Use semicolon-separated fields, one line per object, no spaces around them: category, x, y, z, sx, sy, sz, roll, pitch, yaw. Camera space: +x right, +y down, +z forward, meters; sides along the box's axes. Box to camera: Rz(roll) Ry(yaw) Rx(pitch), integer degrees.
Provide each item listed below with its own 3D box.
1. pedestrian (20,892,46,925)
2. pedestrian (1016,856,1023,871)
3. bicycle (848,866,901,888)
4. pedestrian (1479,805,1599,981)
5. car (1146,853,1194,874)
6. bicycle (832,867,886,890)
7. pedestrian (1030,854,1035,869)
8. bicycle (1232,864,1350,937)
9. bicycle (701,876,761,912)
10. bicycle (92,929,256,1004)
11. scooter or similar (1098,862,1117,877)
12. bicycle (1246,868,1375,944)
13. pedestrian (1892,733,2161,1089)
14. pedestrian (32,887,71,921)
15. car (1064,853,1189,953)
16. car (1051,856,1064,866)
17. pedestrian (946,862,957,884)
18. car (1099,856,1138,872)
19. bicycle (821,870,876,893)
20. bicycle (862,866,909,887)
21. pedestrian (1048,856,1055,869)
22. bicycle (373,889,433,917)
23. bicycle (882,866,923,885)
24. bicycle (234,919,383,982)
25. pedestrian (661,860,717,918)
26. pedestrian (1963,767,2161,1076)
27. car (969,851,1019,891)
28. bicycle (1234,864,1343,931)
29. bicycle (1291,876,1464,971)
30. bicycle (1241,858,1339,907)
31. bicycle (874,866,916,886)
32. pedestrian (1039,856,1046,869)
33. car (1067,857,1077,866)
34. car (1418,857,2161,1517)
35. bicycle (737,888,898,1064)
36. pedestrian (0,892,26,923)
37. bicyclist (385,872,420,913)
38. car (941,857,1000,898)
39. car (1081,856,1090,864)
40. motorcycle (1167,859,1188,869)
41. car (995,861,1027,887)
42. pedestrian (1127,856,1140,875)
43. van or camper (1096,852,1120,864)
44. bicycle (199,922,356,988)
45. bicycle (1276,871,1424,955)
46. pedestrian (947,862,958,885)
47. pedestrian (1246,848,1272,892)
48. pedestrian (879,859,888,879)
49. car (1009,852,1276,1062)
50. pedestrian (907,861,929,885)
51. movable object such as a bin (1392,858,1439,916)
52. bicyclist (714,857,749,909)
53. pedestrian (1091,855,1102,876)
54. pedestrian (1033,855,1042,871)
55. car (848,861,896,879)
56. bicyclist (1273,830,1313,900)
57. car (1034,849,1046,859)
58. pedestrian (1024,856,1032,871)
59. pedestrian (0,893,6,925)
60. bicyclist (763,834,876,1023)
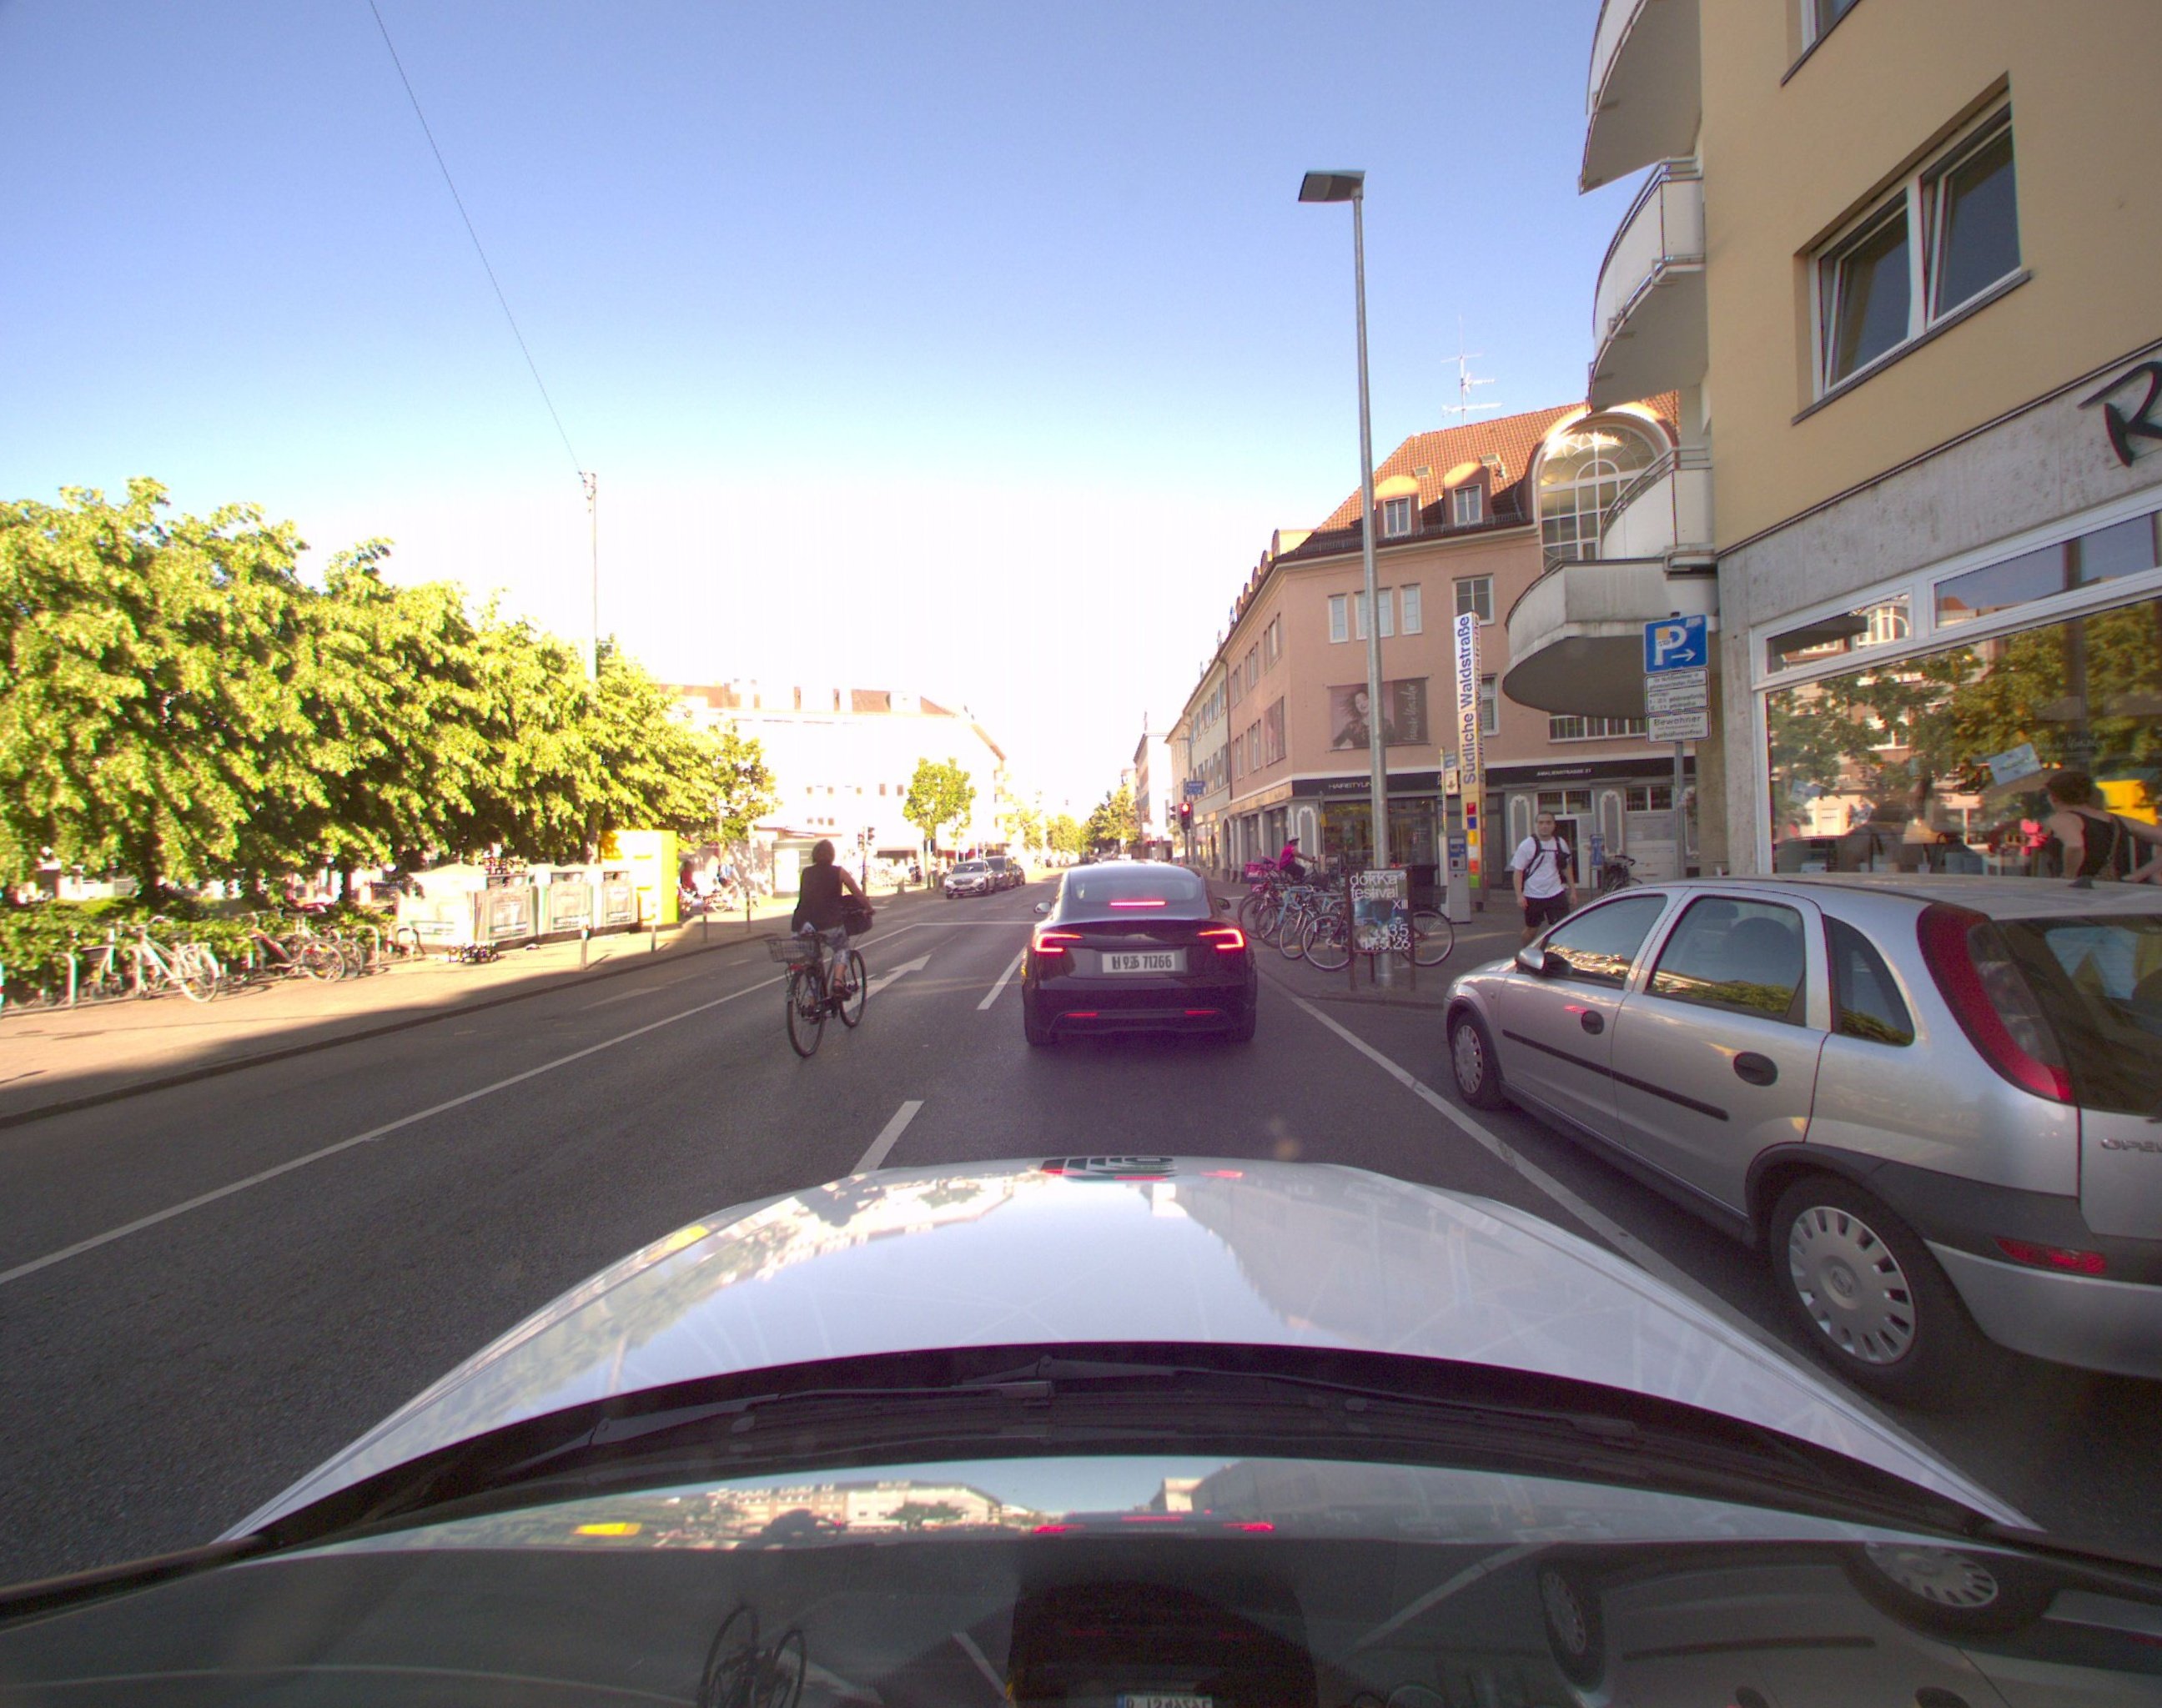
pedestrian;-51.032;2.644;39.661;0.827;1.520;0.782;-1;-1;38
pedestrian;-7.392;1.135;97.312;0.734;1.868;0.787;0;-1;-15
bicycle;-12.157;1.362;47.995;2.867;1.270;0.942;0;-1;-1
pedestrian;4.996;0.407;8.952;0.805;1.823;0.984;0;-1;5
car;8.143;0.870;74.661;4.006;1.867;1.686;-1;0;-20
bicycle;-12.396;1.369;45.599;2.772;1.274;0.933;0;-1;-2
pedestrian;-6.219;0.976;104.236;0.693;1.868;0.658;0;-1;-3
bicycle;3.495;0.772;13.653;1.806;1.152;0.653;-1;0;3
bicycle;-11.708;1.337;27.231;1.934;1.162;0.621;-1;-1;21
bicycle;-11.463;1.415;10.317;1.560;0.886;0.470;0;-1;1
scooter or similar;2.179;1.257;66.545;1.339;1.134;0.804;0;-1;-23
bicycle;3.517;0.788;12.578;1.806;1.102;0.653;-1;0;3
pedestrian;5.632;0.295;4.781;0.681;1.849;0.889;-4;-1;-13
pedestrian;-57.671;2.782;45.625;1.088;1.842;1.309;0;0;37
car;0.740;0.746;14.318;1.843;1.482;4.453;0;0;2
car;-4.862;1.322;166.819;2.405;1.970;4.679;-1;0;2
pedestrian;-10.135;1.489;63.699;0.661;1.760;0.648;0;-1;-24
car;4.304;1.176;93.291;3.954;1.788;2.055;-1;0;38
bicycle;-12.328;1.437;43.255;2.652;1.195;0.942;0;-1;-1
bicycle;-12.057;1.385;50.312;2.655;1.259;0.942;0;-1;-1
pedestrian;-4.226;1.272;117.246;0.777;1.868;1.002;0;-1;-20
bicycle;-23.162;1.664;27.820;1.840;0.823;0.583;-4;-1;14
bicycle;-12.056;1.419;55.015;2.535;1.251;0.942;0;-1;-1
bicycle;-11.463;1.423;12.113;1.663;0.859;0.469;0;-1;-5
pedestrian;-11.984;1.046;24.931;1.102;1.719;1.065;-1;-1;12
pedestrian;6.209;0.384;5.030;0.714;1.754;0.792;-4;-1;28
car;-4.498;0.833;42.932;1.938;1.947;4.822;-1;0;2
bicycle;3.735;0.780;14.783;1.806;1.152;0.653;-1;0;3
bicycle;3.634;0.842;10.094;1.875;1.044;0.653;-2;0;3
bicycle;5.391;0.728;21.134;2.376;1.151;0.714;-2;-1;8
bicycle;-12.002;1.399;52.588;2.535;1.251;0.942;0;-1;-1
pedestrian;-5.670;1.305;119.989;0.698;1.868;0.902;0;-1;-24
car;-2.002;1.777;187.440;2.124;1.970;4.135;-1;0;2
car;2.959;0.735;3.558;1.578;1.426;3.581;0;-1;2
bicycle;-2.167;0.937;6.985;0.625;1.223;2.002;0;-1;3
pedestrian;-54.565;2.720;41.369;1.029;1.520;1.023;0;-1;-43
bicyclist;-23.190;1.311;27.827;0.701;1.381;0.577;-3;-2;14
car;-4.886;1.014;36.609;1.818;1.565;4.302;-5;-1;2
car;1.061;1.450;186.017;1.886;1.813;3.925;0;-1;0
motorcycle;10.576;1.097;89.470;2.397;1.036;0.774;0;-1;-38
car;-4.259;1.203;50.058;1.455;1.430;3.607;-5;-1;2
pedestrian;4.465;0.992;68.938;0.812;1.609;0.702;0;-1;-35
van or camper;5.630;0.851;167.671;4.832;2.438;1.851;-1;0;1
bicycle;-11.428;1.421;11.614;1.667;0.859;0.469;0;-1;-5
bicycle;3.654;0.794;11.167;1.806;1.060;0.653;-1;0;3
pedestrian;-9.943;1.487;63.065;0.844;1.760;0.704;0;-1;-12
pedestrian;6.363;0.561;29.205;0.786;1.549;0.724;0;-1;2
pedestrian;-15.310;1.177;63.197;0.624;1.524;0.577;0;-1;-11
car;0.494;0.735;7.894;1.843;1.447;4.453;0;0;2
pedestrian;-11.039;1.288;55.261;1.086;1.611;1.270;-1;-1;10
movable object such as a bin;6.743;0.656;16.433;0.633;1.103;0.728;-4;-1;5
bicyclist;-11.704;0.963;27.247;0.800;1.709;0.707;-1;-1;21
pedestrian;1.246;0.935;66.142;0.660;1.760;0.649;0;-1;-22
pedestrian;-5.020;1.098;94.894;0.726;1.868;0.796;-1;-1;30
car;-19.122;1.468;74.399;4.133;1.530;1.541;-1;0;-20
bicyclist;5.488;0.289;21.119;0.859;1.755;0.683;-3;-2;9
car;-9.024;-0.013;180.149;2.266;2.014;4.720;0;-1;3
pedestrian;-6.355;1.128;97.438;0.734;1.868;0.787;0;-1;-15
pedestrian;-52.619;2.652;39.173;0.928;1.520;0.924;0;-1;-43
bicyclist;-2.182;0.593;6.900;0.603;1.484;0.959;0;-1;3
